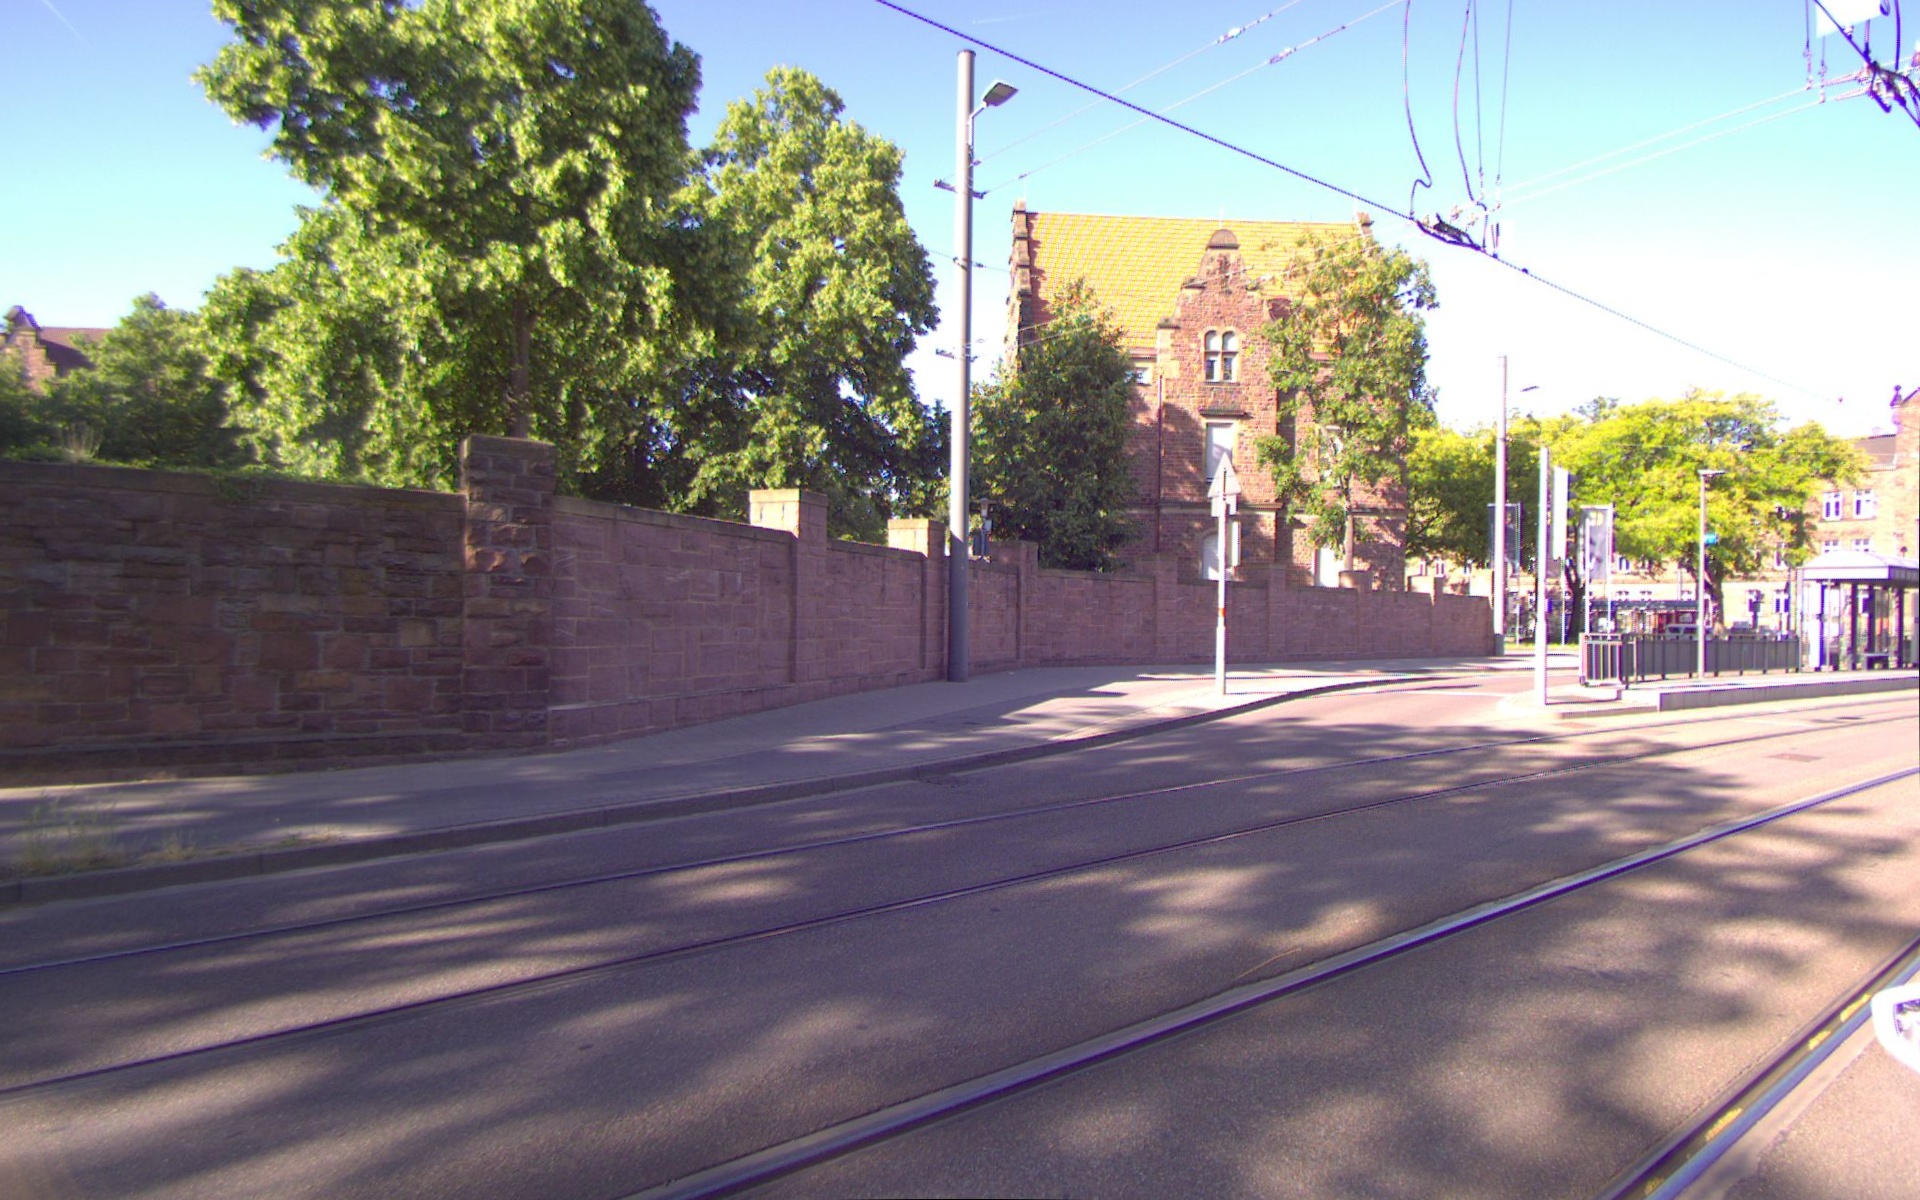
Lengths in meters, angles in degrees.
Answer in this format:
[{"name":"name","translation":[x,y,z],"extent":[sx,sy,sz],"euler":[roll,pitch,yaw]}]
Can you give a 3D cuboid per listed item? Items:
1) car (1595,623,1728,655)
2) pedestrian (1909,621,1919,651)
[{"name":"car","translation":[47.922,2.597,68.802],"extent":[2.957,1.946,6.915],"euler":[1,-1,-30]},{"name":"pedestrian","translation":[55.490,2.063,57.940],"extent":[1.017,1.714,0.839],"euler":[2,0,-30]}]
